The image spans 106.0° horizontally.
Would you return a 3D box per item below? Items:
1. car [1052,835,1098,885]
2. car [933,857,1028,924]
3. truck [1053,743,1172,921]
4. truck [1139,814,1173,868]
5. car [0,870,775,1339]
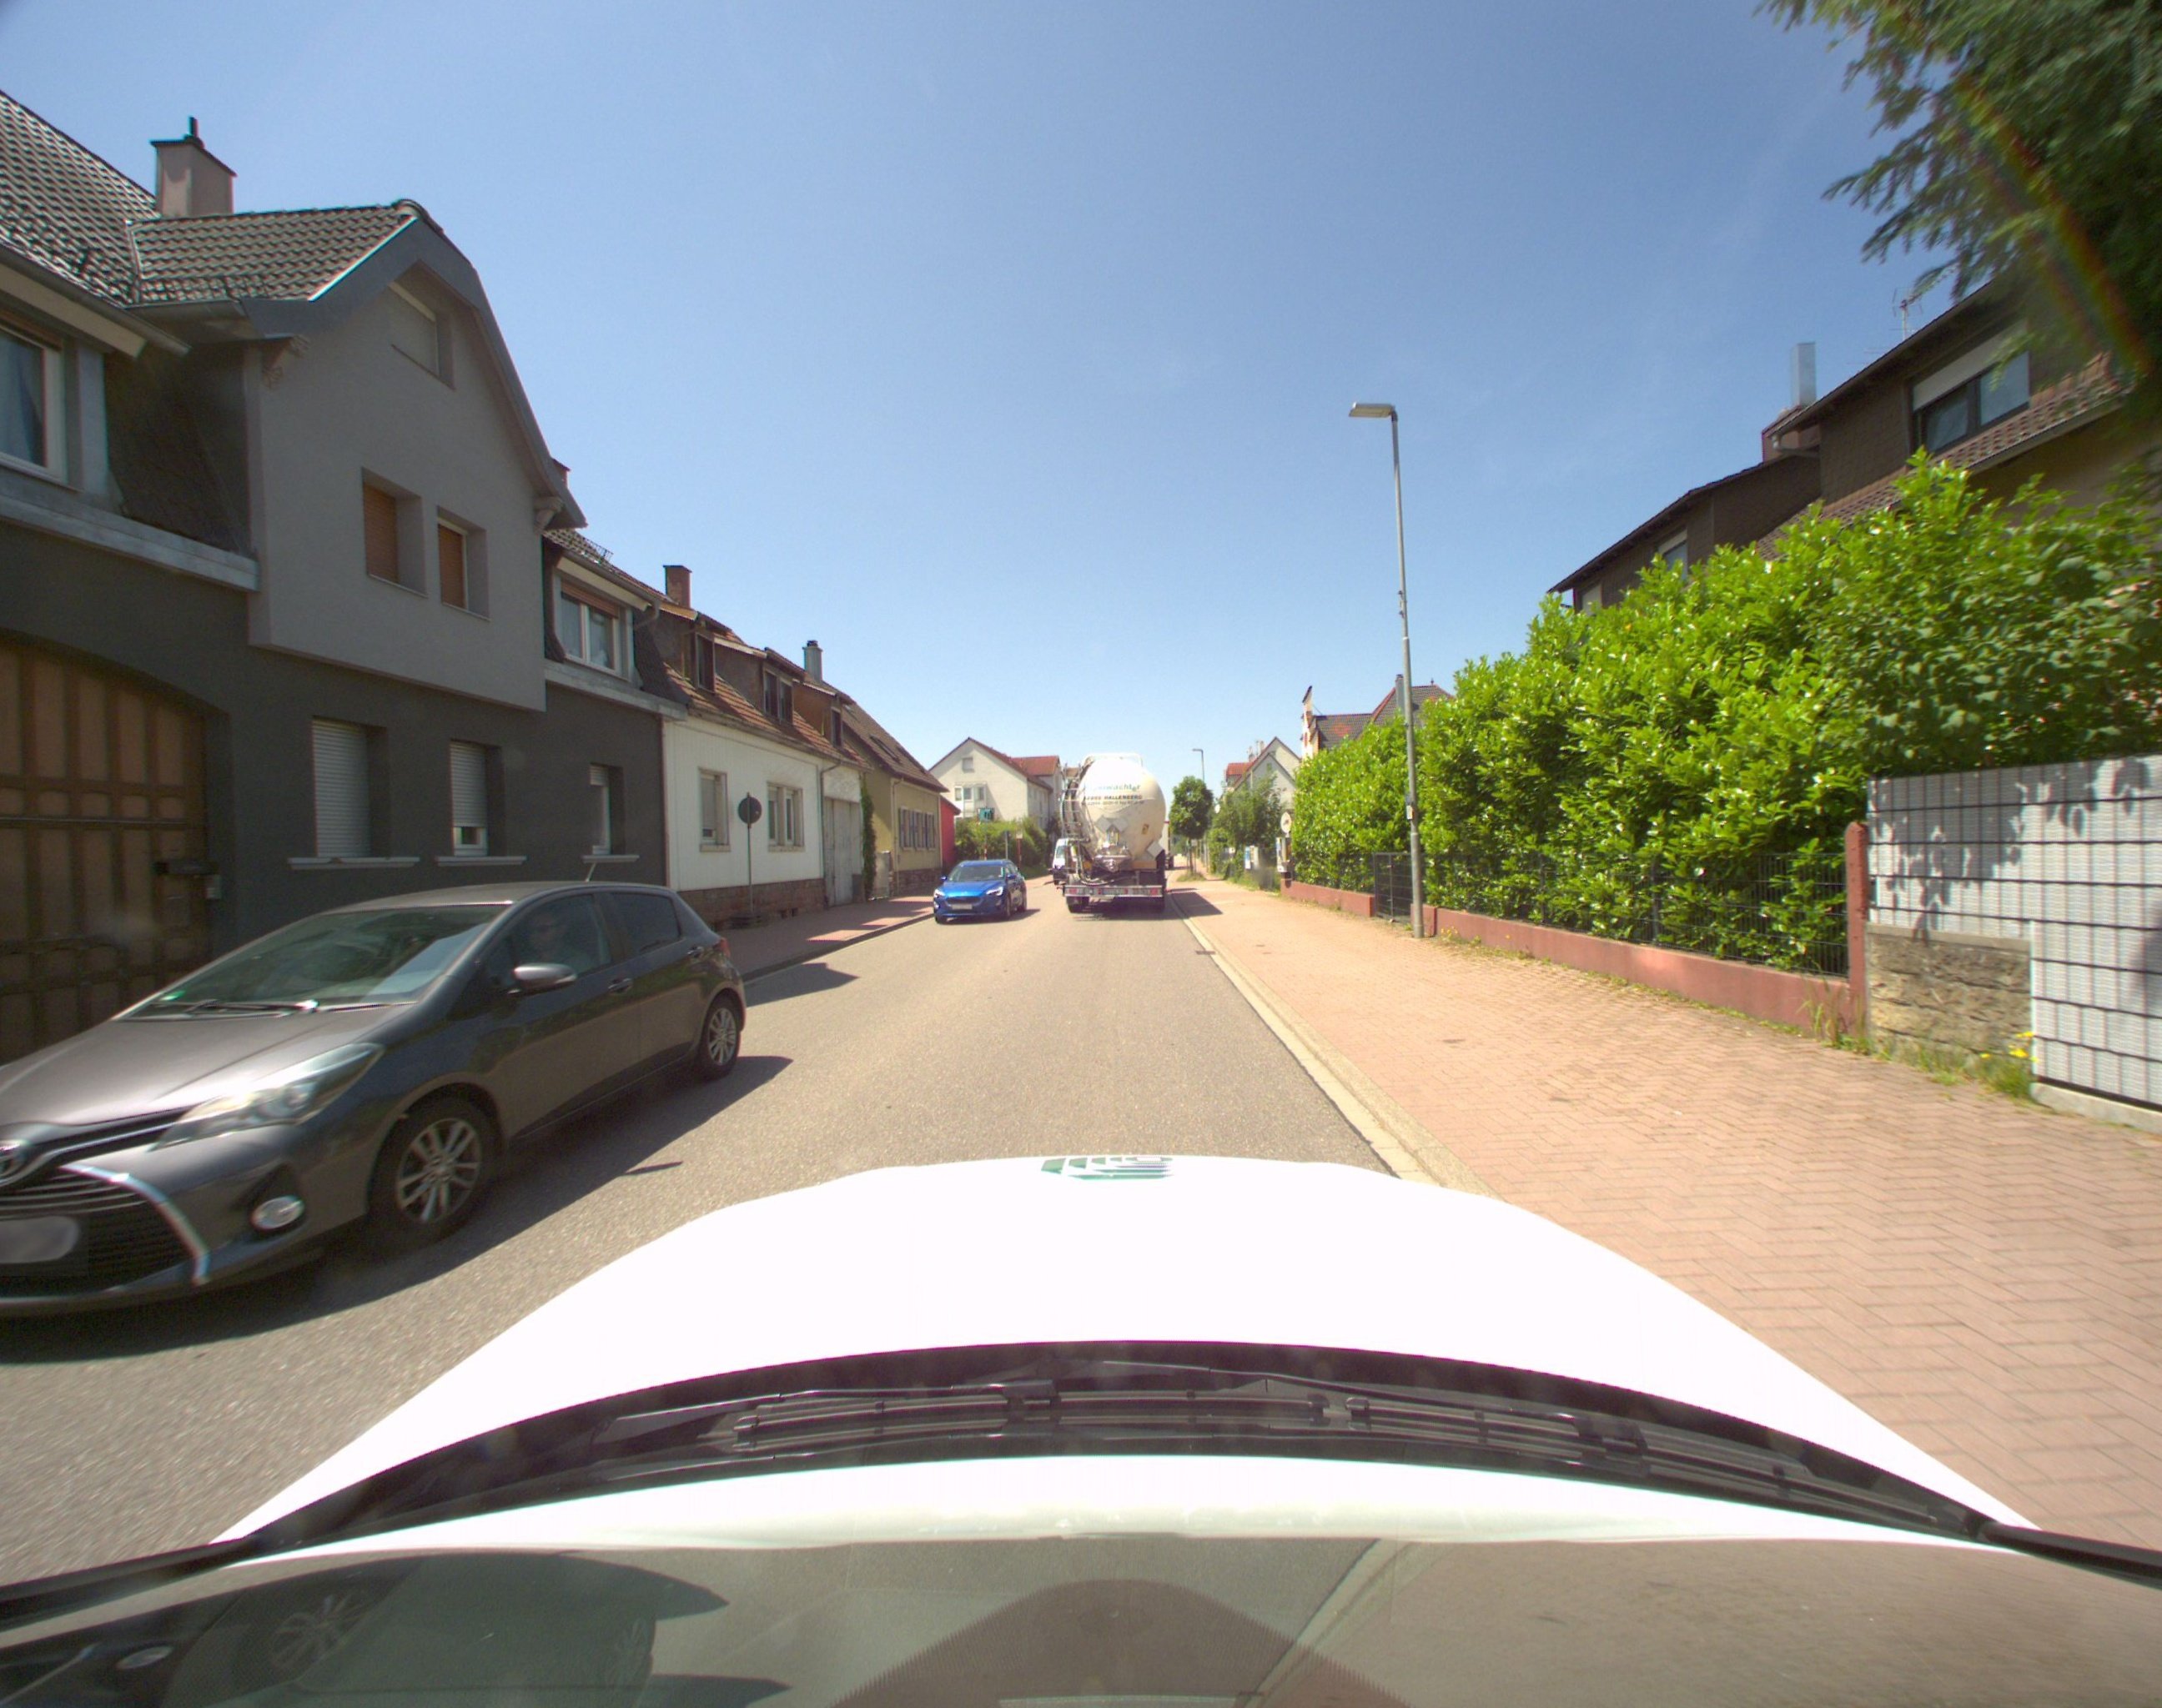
[{"bbox_3d":[-0.262,0.300,44.840,2.021,2.461,6.073,-2,0,3],"label":"car"},{"bbox_3d":[-2.477,0.866,21.115,1.639,1.454,4.404,-3,0,3],"label":"car"},{"bbox_3d":[0.935,-0.510,23.404,2.630,4.015,9.567,-1,0,2],"label":"truck"},{"bbox_3d":[6.669,-1.070,71.408,2.627,4.224,12.115,-1,0,6],"label":"truck"},{"bbox_3d":[-3.461,0.906,4.720,1.670,1.459,3.931,-4,0,2],"label":"car"}]
